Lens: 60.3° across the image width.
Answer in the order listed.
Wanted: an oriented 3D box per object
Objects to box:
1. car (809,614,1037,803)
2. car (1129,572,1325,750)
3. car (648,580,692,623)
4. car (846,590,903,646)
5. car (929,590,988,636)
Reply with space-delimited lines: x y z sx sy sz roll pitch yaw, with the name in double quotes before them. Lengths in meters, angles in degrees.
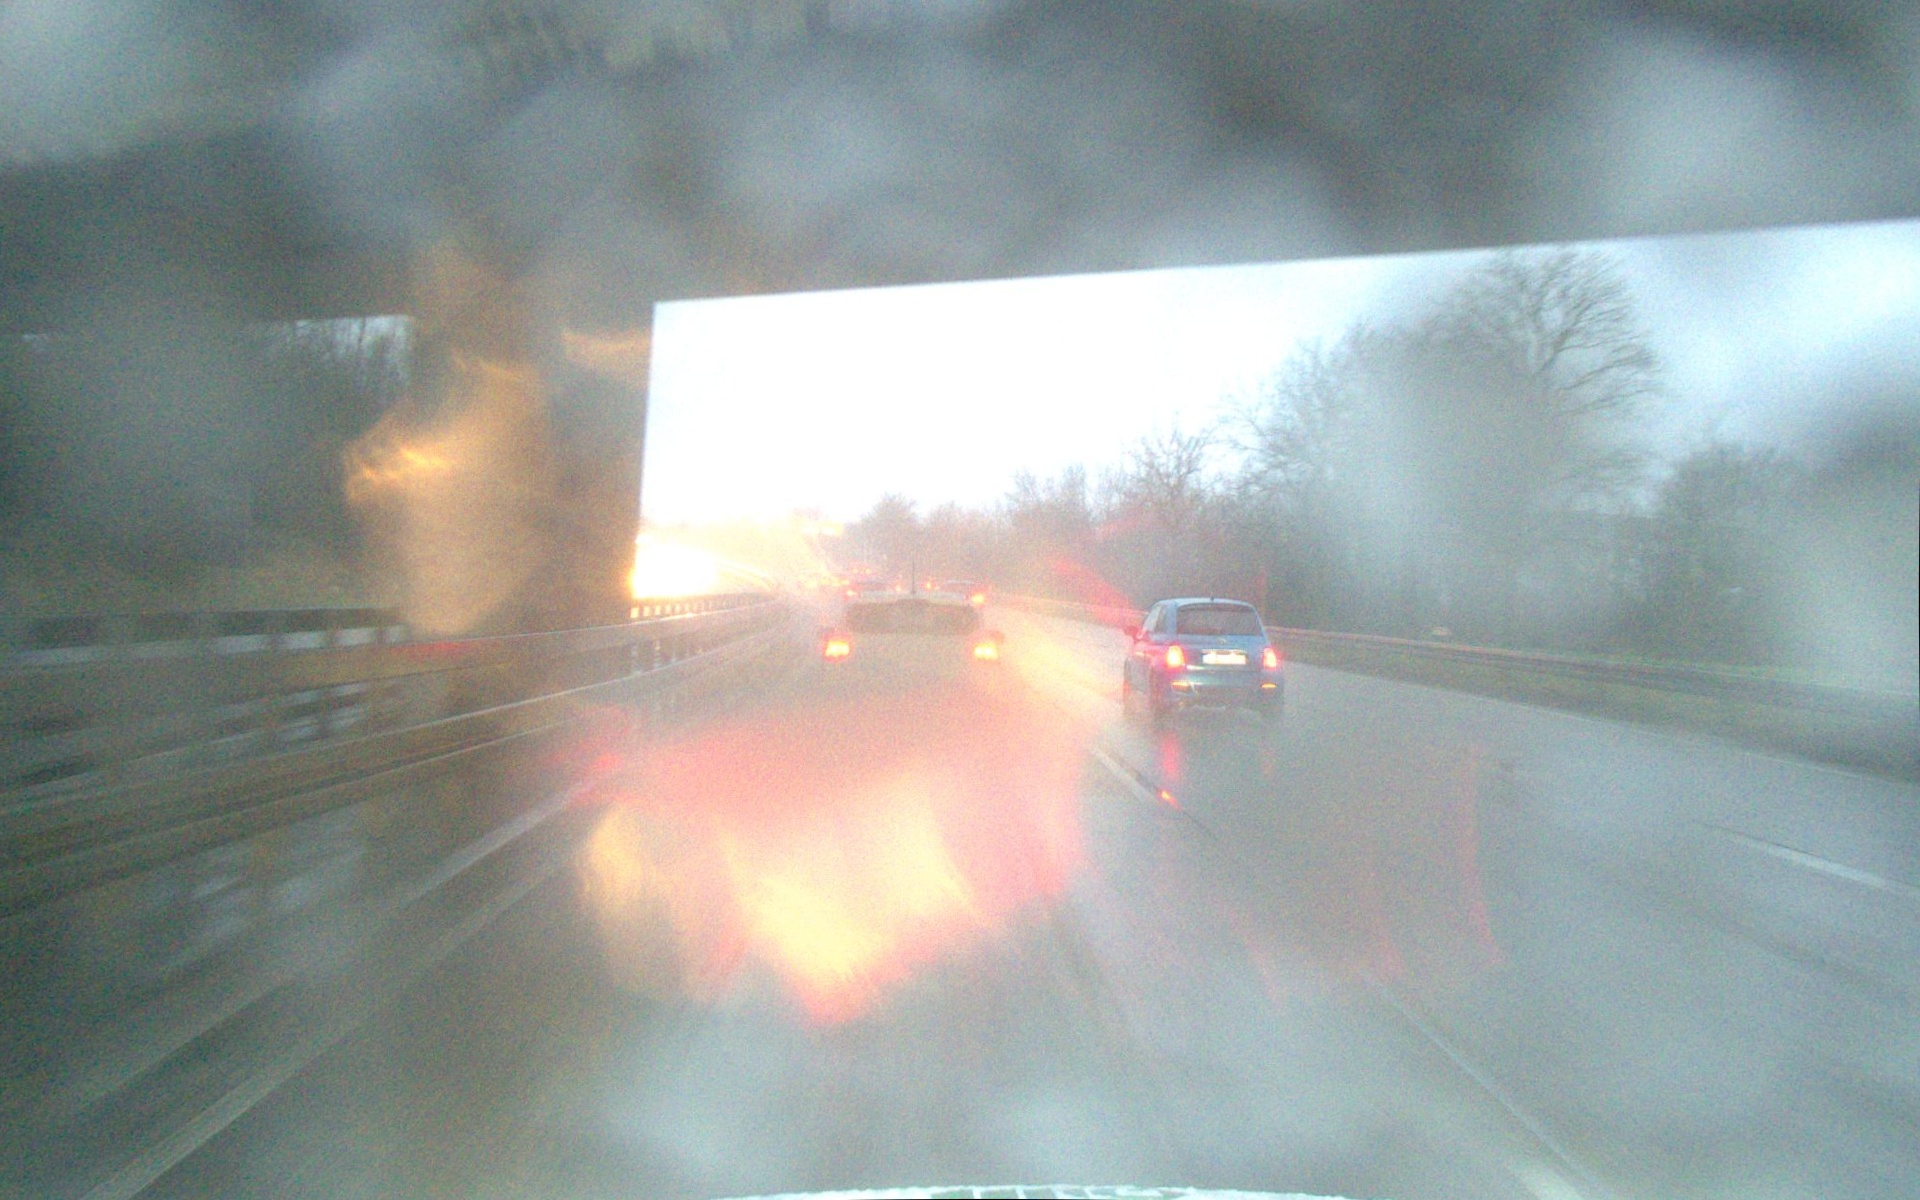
"car" -0.343 1.011 16.859 1.983 1.602 3.999 3 -1 0
"car" 3.410 0.768 21.820 1.893 2.055 3.773 3 -1 0
"car" -17.940 0.140 102.446 2.103 2.511 5.136 3 -1 -5
"car" -3.396 0.710 64.794 1.955 2.049 3.995 3 -1 -6
"car" -0.099 0.556 66.543 1.896 1.573 3.767 -3 -3 -7
